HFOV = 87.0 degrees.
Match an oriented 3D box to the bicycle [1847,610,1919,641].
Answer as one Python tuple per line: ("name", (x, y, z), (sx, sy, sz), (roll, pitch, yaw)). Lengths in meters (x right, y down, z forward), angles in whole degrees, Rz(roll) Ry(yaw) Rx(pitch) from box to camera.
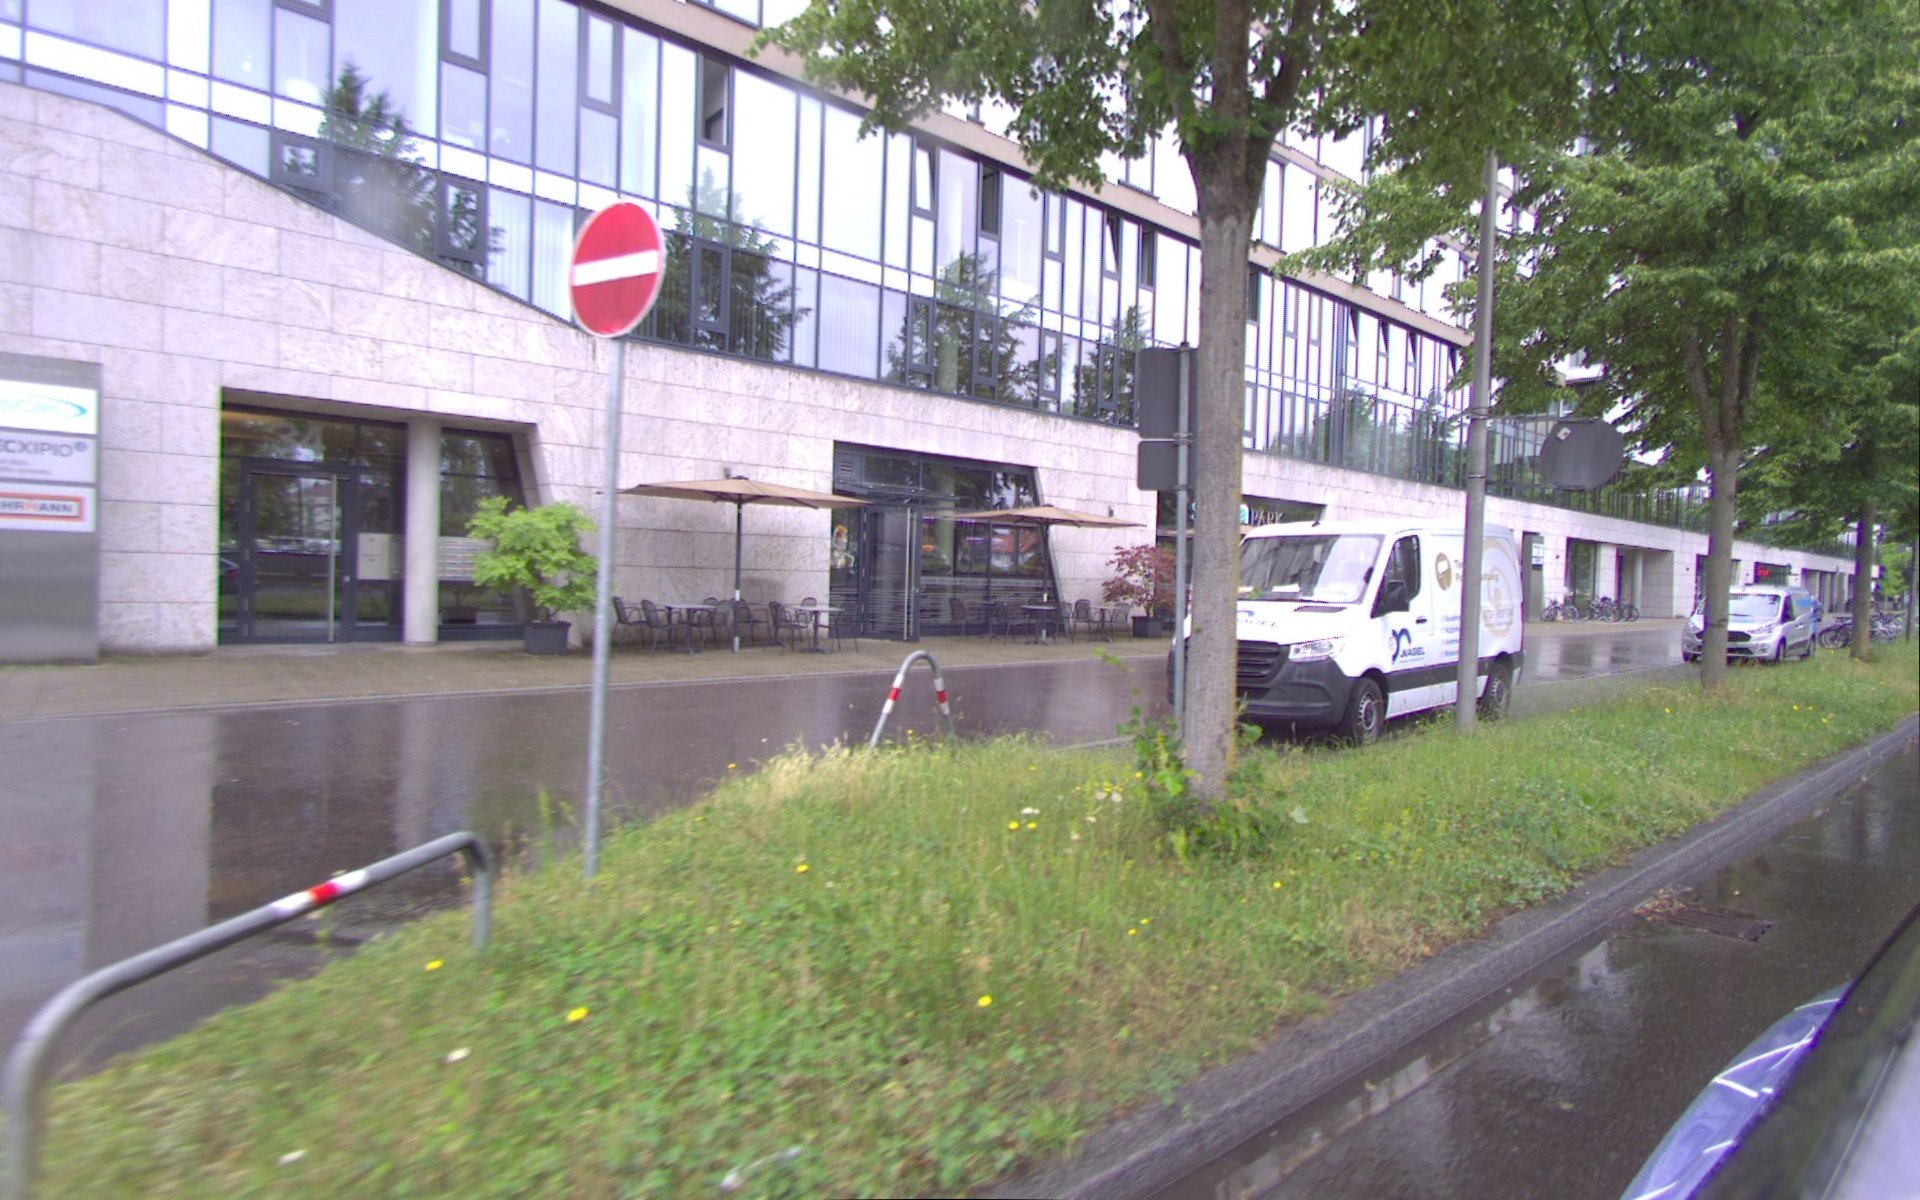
("bicycle", (29.333, 0.794, 31.911), (0.389, 0.958, 2.036), (0, 0, -43))

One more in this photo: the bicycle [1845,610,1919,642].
("bicycle", (29.002, 0.796, 31.634), (0.389, 0.958, 2.003), (0, 0, -43))

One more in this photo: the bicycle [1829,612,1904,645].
("bicycle", (27.155, 0.851, 30.349), (0.389, 0.958, 1.646), (0, 0, -43))

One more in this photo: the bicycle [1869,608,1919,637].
("bicycle", (32.285, 0.761, 34.389), (0.458, 0.958, 2.036), (0, 0, -43))

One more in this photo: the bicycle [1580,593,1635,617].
("bicycle", (29.009, 0.204, 45.380), (0.389, 0.957, 2.026), (0, 3, -43))

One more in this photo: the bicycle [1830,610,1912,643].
("bicycle", (28.028, 0.809, 31.156), (0.389, 0.958, 1.858), (0, 0, -43))

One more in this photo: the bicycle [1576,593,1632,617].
("bicycle", (28.592, 0.205, 44.971), (0.389, 0.957, 2.026), (0, 3, -43))

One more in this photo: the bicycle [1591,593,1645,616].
("bicycle", (30.302, 0.191, 46.631), (0.389, 0.957, 2.026), (0, 3, -43))

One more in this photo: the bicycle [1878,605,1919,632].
("bicycle", (34.602, 0.667, 36.585), (0.510, 0.958, 2.036), (0, 0, -43))

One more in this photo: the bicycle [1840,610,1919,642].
("bicycle", (28.558, 0.802, 31.399), (0.389, 0.958, 1.879), (0, 0, -43))

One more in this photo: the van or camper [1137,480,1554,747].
("van or camper", (4.510, 0.080, 11.318), (5.364, 2.321, 2.029), (0, 1, -41))

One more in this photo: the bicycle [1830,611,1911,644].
("bicycle", (27.588, 0.815, 30.694), (0.389, 0.958, 1.789), (0, 0, -43))

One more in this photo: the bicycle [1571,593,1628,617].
("bicycle", (28.097, 0.207, 44.490), (0.389, 0.957, 2.026), (0, 3, -43))

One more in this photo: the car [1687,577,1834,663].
("car", (18.462, 0.384, 23.259), (4.763, 1.781, 1.745), (0, 2, -41))

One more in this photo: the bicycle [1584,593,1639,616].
("bicycle", (29.437, 0.191, 45.756), (0.389, 0.957, 2.026), (0, 3, -43))

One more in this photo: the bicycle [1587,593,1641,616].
("bicycle", (29.795, 0.192, 46.120), (0.389, 0.957, 2.026), (0, 3, -43))

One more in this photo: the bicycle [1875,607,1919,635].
("bicycle", (33.893, 0.741, 35.949), (0.532, 0.958, 2.036), (0, 0, -43))

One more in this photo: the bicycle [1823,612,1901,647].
("bicycle", (26.146, 0.837, 29.366), (0.389, 0.958, 1.663), (0, 0, -43))

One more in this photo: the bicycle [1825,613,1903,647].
("bicycle", (26.650, 0.860, 29.858), (0.389, 0.958, 1.695), (0, 0, -43))

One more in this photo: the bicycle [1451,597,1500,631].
("bicycle", (15.311, 0.401, 30.040), (1.822, 0.957, 0.403), (0, 1, -33))

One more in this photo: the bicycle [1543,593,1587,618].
("bicycle", (25.303, 0.210, 42.359), (0.339, 0.957, 1.665), (1, 3, -21))

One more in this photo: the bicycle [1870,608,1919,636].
("bicycle", (32.933, 0.753, 35.078), (0.533, 0.958, 2.036), (0, 0, -43))
